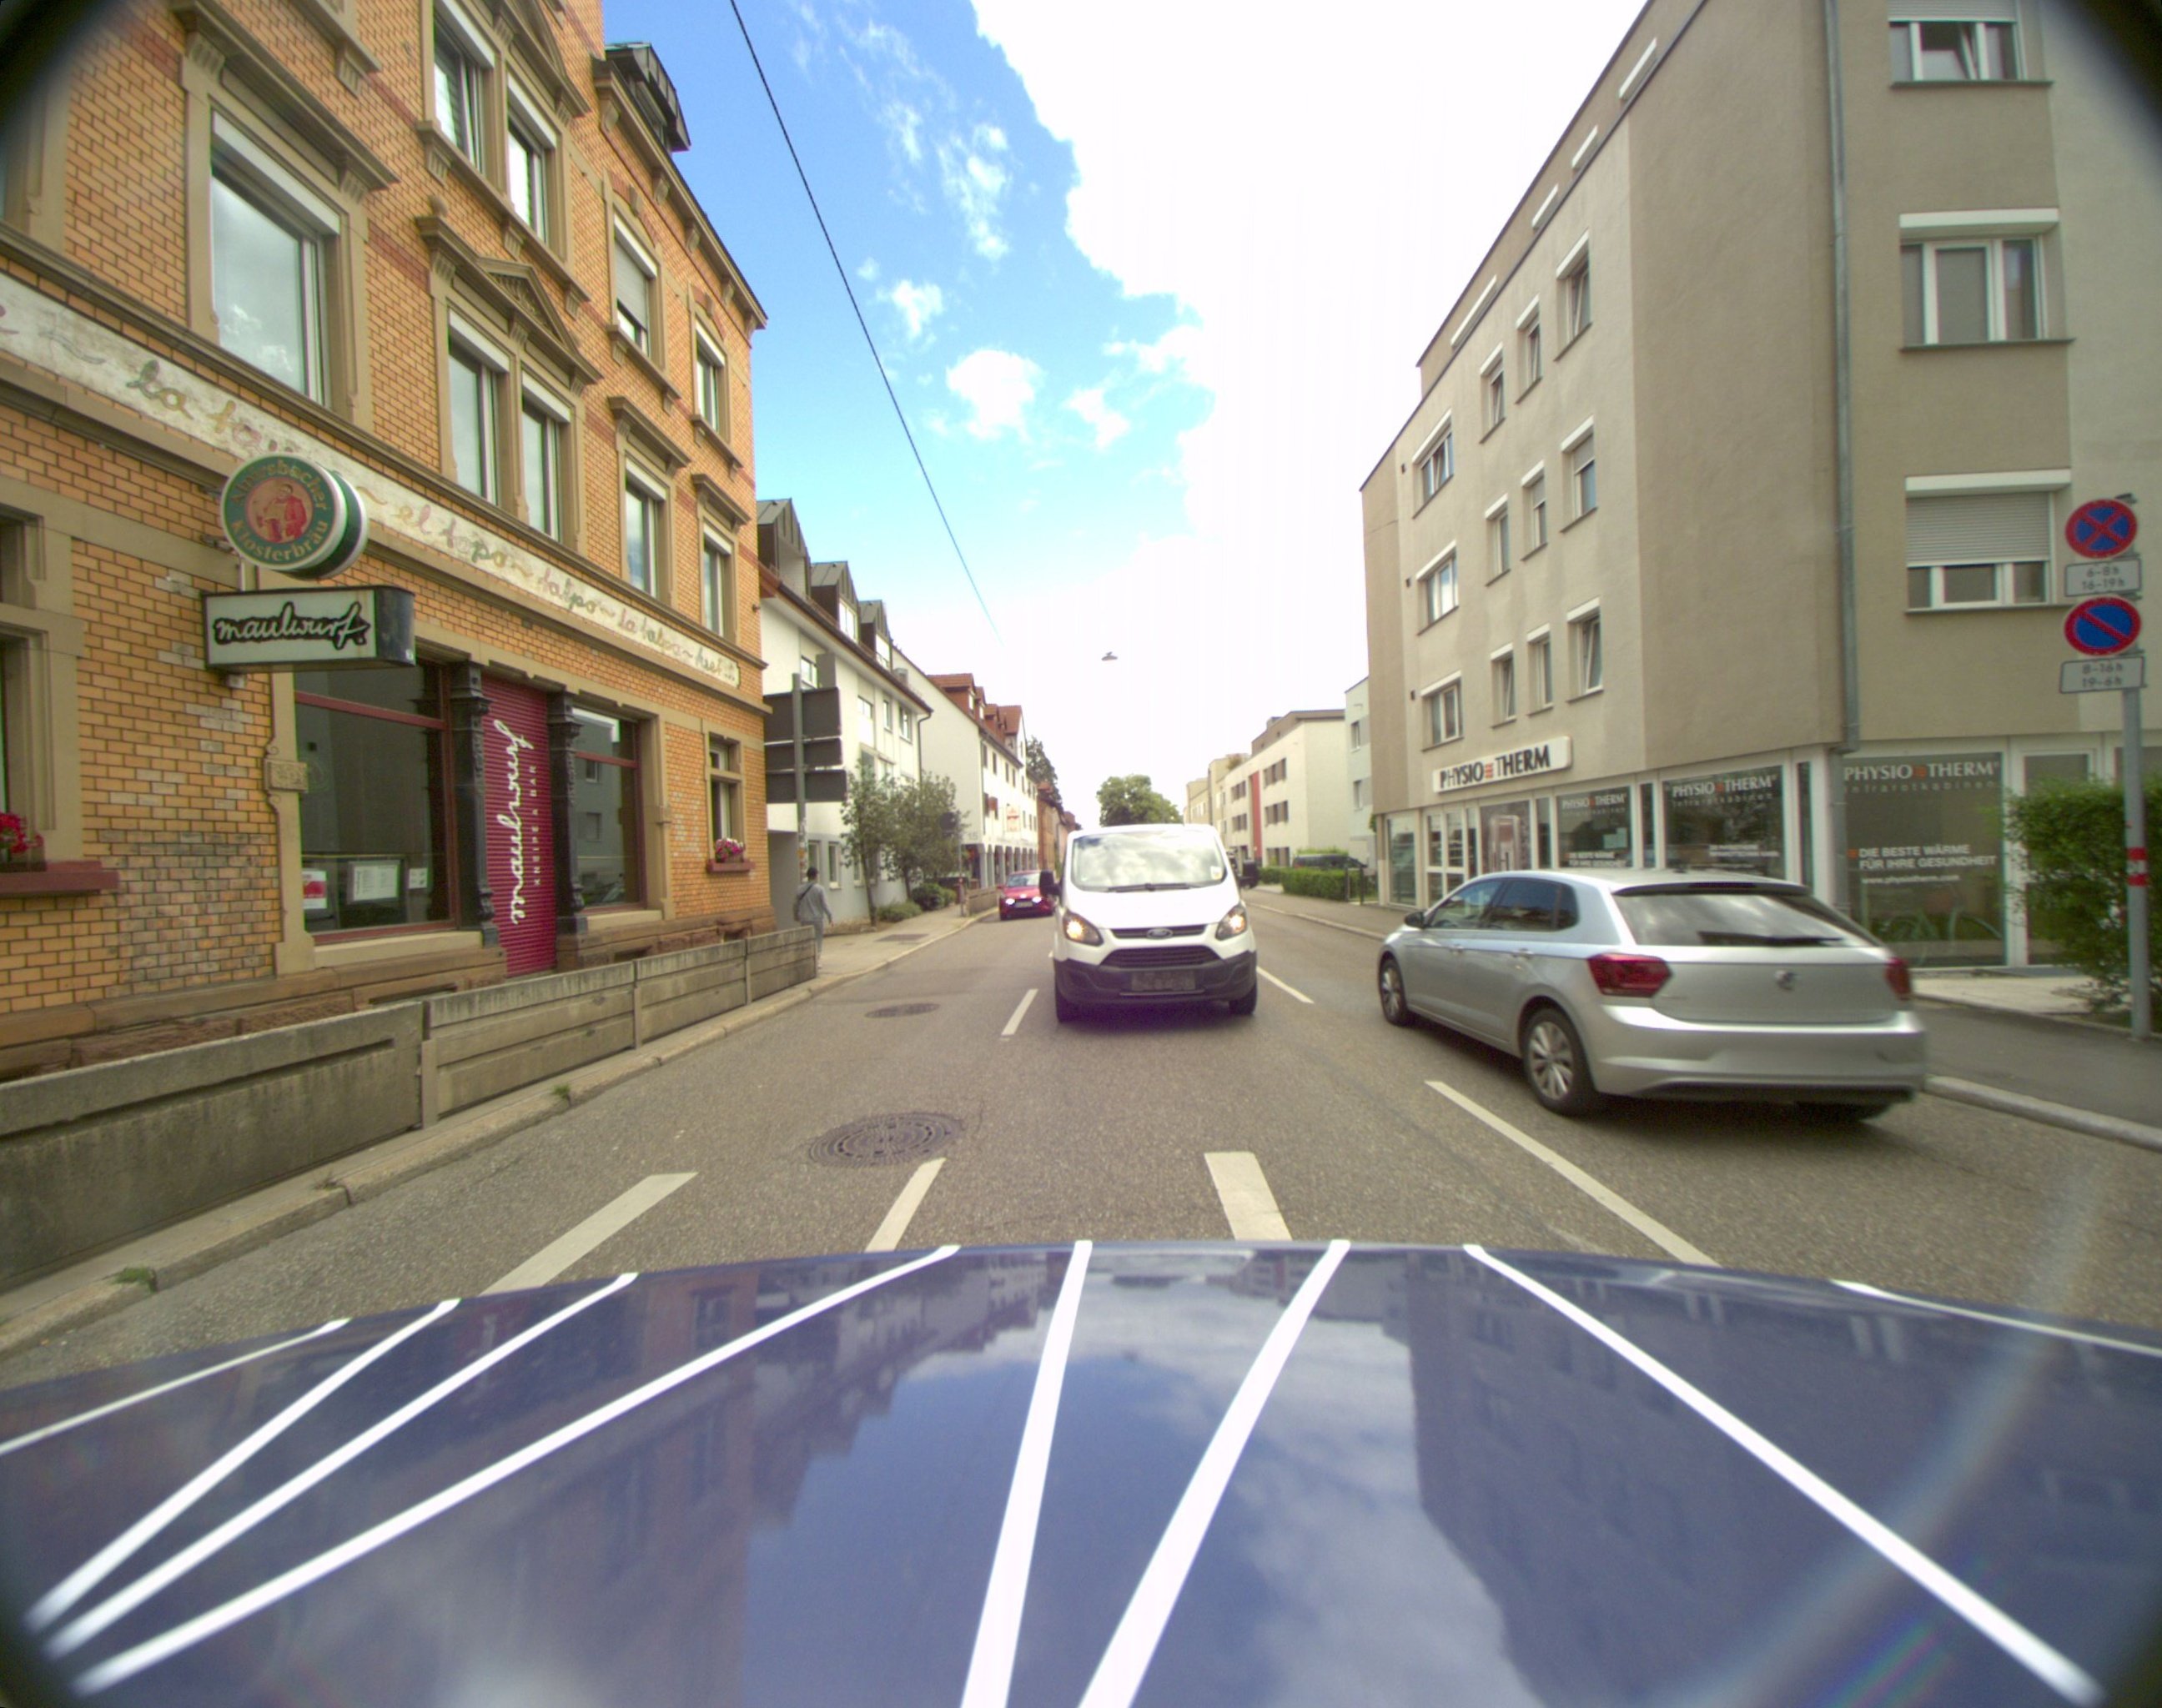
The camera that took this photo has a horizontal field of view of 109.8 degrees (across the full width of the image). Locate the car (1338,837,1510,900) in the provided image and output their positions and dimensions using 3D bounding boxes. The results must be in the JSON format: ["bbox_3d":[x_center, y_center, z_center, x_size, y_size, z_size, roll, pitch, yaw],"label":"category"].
[{"bbox_3d":[11.866,0.506,26.573,5.082,1.986,1.967,-2,0,4],"label":"car"}]

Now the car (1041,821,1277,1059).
[{"bbox_3d":[0.685,0.745,9.068,1.965,1.986,5.087,-2,0,0],"label":"car"}]

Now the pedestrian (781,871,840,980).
[{"bbox_3d":[-4.470,1.161,12.593,0.690,1.720,0.650,-2,0,0],"label":"pedestrian"}]

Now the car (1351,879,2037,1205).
[{"bbox_3d":[3.584,0.948,5.561,1.804,1.409,4.000,0,0,0],"label":"car"}]

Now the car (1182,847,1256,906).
[{"bbox_3d":[4.993,0.761,28.133,1.964,1.986,4.761,0,0,1],"label":"car"}]

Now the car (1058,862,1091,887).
[{"bbox_3d":[-0.416,1.437,54.438,1.998,1.537,4.572,-4,0,3],"label":"car"}]

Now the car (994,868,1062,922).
[{"bbox_3d":[-1.669,1.287,25.188,1.702,1.444,4.001,-4,0,3],"label":"car"}]
